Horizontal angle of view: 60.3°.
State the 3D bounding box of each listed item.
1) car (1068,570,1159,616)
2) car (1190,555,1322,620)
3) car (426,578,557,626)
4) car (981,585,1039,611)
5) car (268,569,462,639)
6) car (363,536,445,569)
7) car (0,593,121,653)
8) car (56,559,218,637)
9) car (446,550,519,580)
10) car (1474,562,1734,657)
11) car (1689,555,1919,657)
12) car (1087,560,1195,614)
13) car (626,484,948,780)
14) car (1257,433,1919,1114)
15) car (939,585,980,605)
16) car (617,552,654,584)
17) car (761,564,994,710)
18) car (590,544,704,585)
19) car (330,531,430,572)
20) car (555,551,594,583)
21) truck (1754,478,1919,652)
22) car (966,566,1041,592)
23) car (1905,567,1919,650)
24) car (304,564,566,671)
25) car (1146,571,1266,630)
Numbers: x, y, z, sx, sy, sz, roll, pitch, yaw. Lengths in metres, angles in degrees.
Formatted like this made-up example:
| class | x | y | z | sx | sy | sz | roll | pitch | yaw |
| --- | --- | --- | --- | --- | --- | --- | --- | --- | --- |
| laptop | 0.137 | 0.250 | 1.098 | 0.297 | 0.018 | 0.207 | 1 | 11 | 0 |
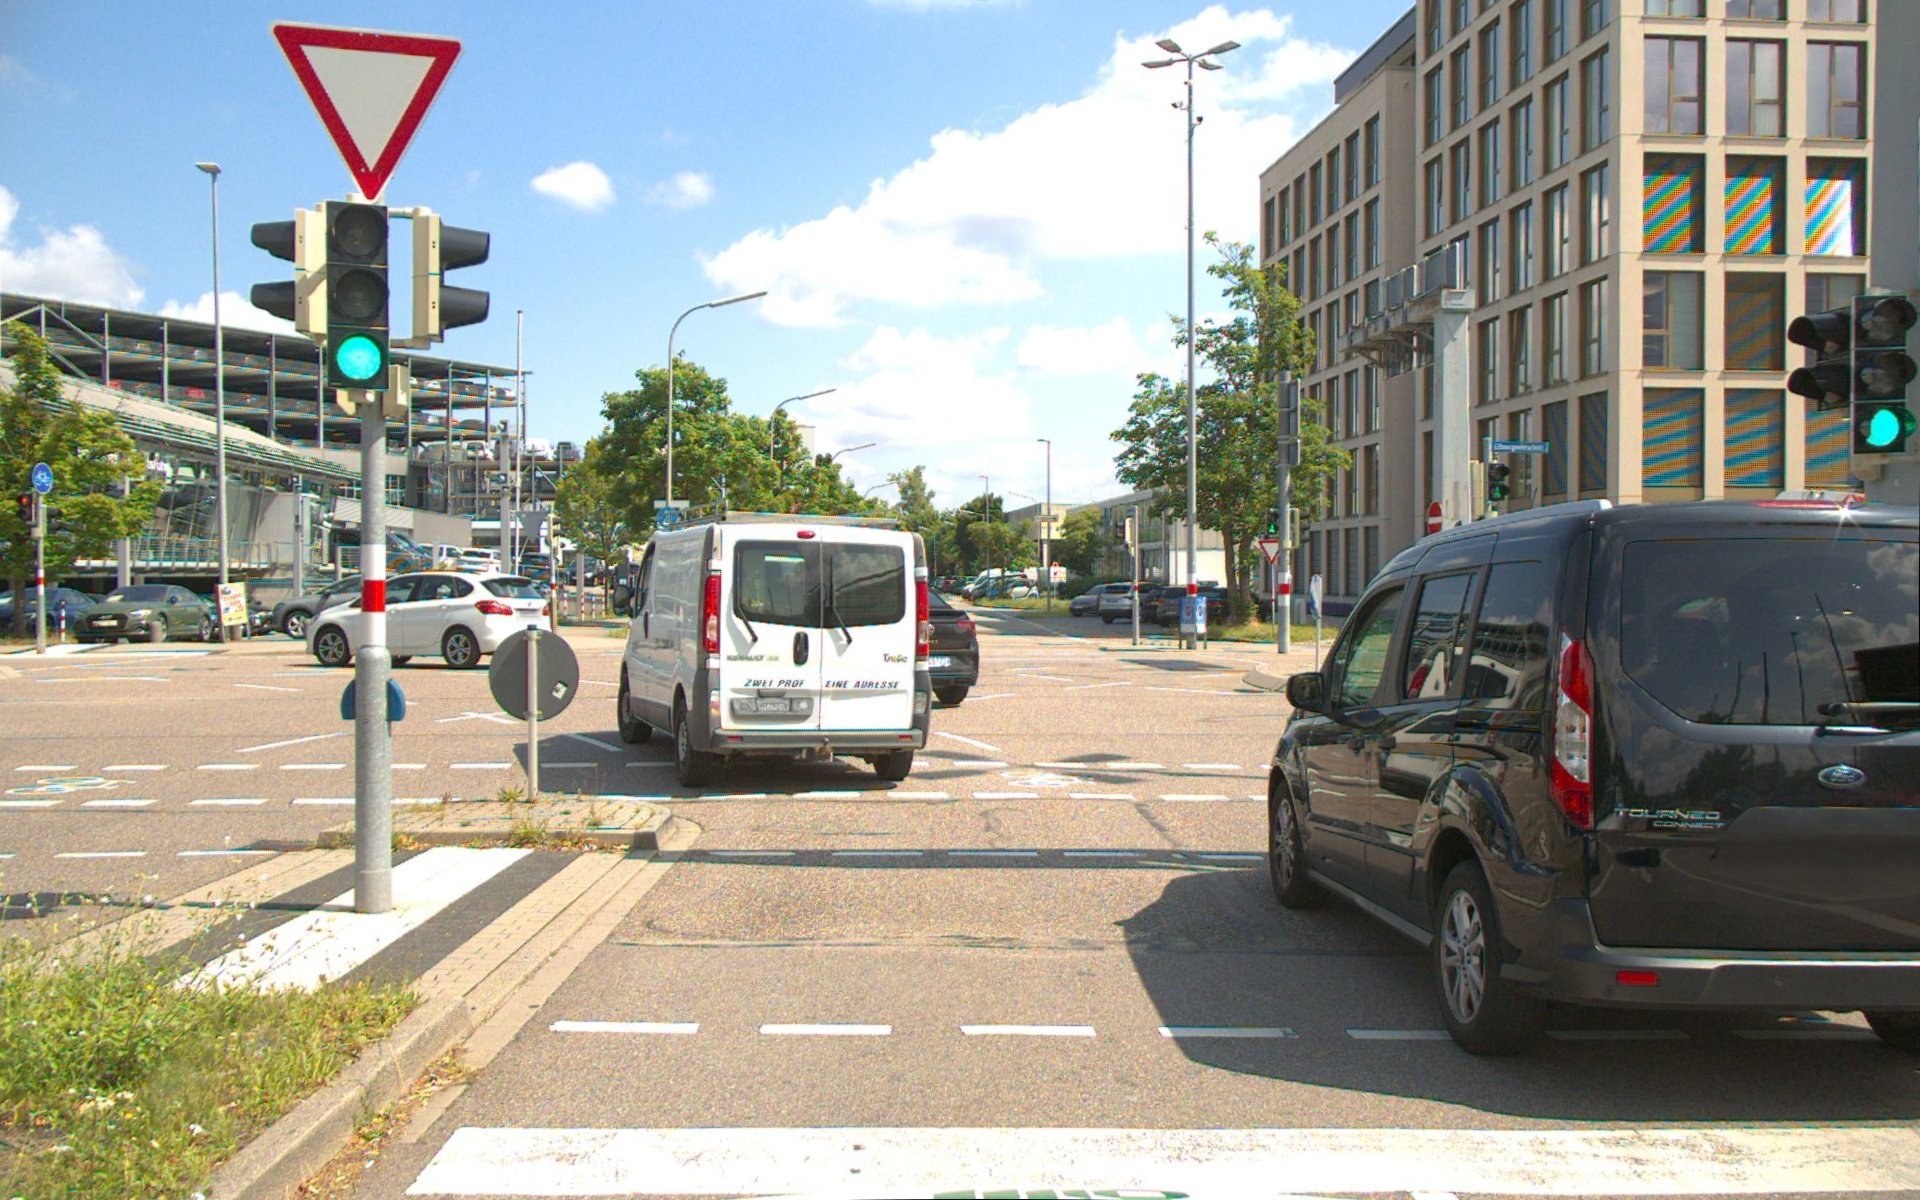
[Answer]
| class | x | y | z | sx | sy | sz | roll | pitch | yaw |
| --- | --- | --- | --- | --- | --- | --- | --- | --- | --- |
| car | 7.250 | -0.309 | 78.286 | 3.914 | 2.049 | 1.996 | 1 | -1 | -9 |
| car | 9.972 | -0.402 | 55.882 | 3.914 | 2.049 | 1.996 | 1 | -1 | -9 |
| car | -17.902 | 0.083 | 63.398 | 4.485 | 1.707 | 1.905 | 1 | -1 | -5 |
| car | 3.534 | -0.147 | 117.804 | 3.910 | 1.780 | 1.998 | 1 | -1 | -6 |
| car | -15.843 | 0.115 | 44.224 | 4.485 | 1.707 | 1.905 | 1 | -1 | -5 |
| car | -29.485 | -2.494 | 87.825 | 3.918 | 1.579 | 1.759 | 1 | -1 | -13 |
| car | -21.856 | 0.518 | 39.265 | 1.864 | 1.320 | 4.584 | 1 | 0 | -6 |
| car | -19.372 | -0.030 | 39.150 | 1.864 | 1.707 | 4.584 | 1 | 0 | -6 |
| car | -27.469 | -1.981 | 95.251 | 3.918 | 1.579 | 1.759 | 1 | -1 | -13 |
| car | 13.809 | 0.220 | 35.597 | 4.884 | 1.870 | 1.996 | 1 | -1 | -9 |
| car | 15.275 | 0.127 | 29.151 | 4.120 | 1.655 | 1.824 | 1 | -1 | -9 |
| car | 7.254 | -0.508 | 66.455 | 3.914 | 2.049 | 1.996 | 1 | -1 | -9 |
| car | -1.669 | 0.220 | 14.180 | 1.941 | 2.096 | 4.544 | 1 | 0 | -17 |
| car | 2.567 | 0.497 | 6.763 | 1.787 | 1.938 | 3.998 | 1 | 0 | -3 |
| car | -0.074 | -0.508 | 170.890 | 3.914 | 2.049 | 1.996 | 1 | -1 | -9 |
| car | -17.236 | -1.662 | 87.960 | 1.531 | 1.579 | 3.597 | 1 | 0 | -6 |
| car | -1.150 | 0.410 | 21.005 | 1.749 | 1.658 | 3.973 | 1 | 0 | -22 |
| car | -18.015 | -2.046 | 95.347 | 6.264 | 2.139 | 1.762 | 1 | -1 | -6 |
| car | -28.977 | -2.412 | 82.719 | 4.357 | 1.833 | 1.762 | 1 | -1 | -7 |
| car | -20.559 | -1.729 | 88.317 | 1.531 | 1.579 | 3.597 | 1 | 0 | -6 |
| truck | 22.842 | -0.630 | 36.707 | 9.569 | 3.617 | 2.670 | 1 | -1 | -9 |
| car | 3.701 | -1.817 | 142.498 | 6.215 | 2.049 | 2.571 | 1 | 0 | -3 |
| car | 21.238 | 0.219 | 32.691 | 4.114 | 1.655 | 1.827 | 1 | -1 | -3 |
| car | -8.789 | 0.279 | 27.721 | 3.905 | 1.646 | 1.777 | 1 | -1 | 21 |
| car | 9.036 | 0.039 | 60.848 | 3.914 | 2.049 | 1.996 | 1 | -1 | -9 |
